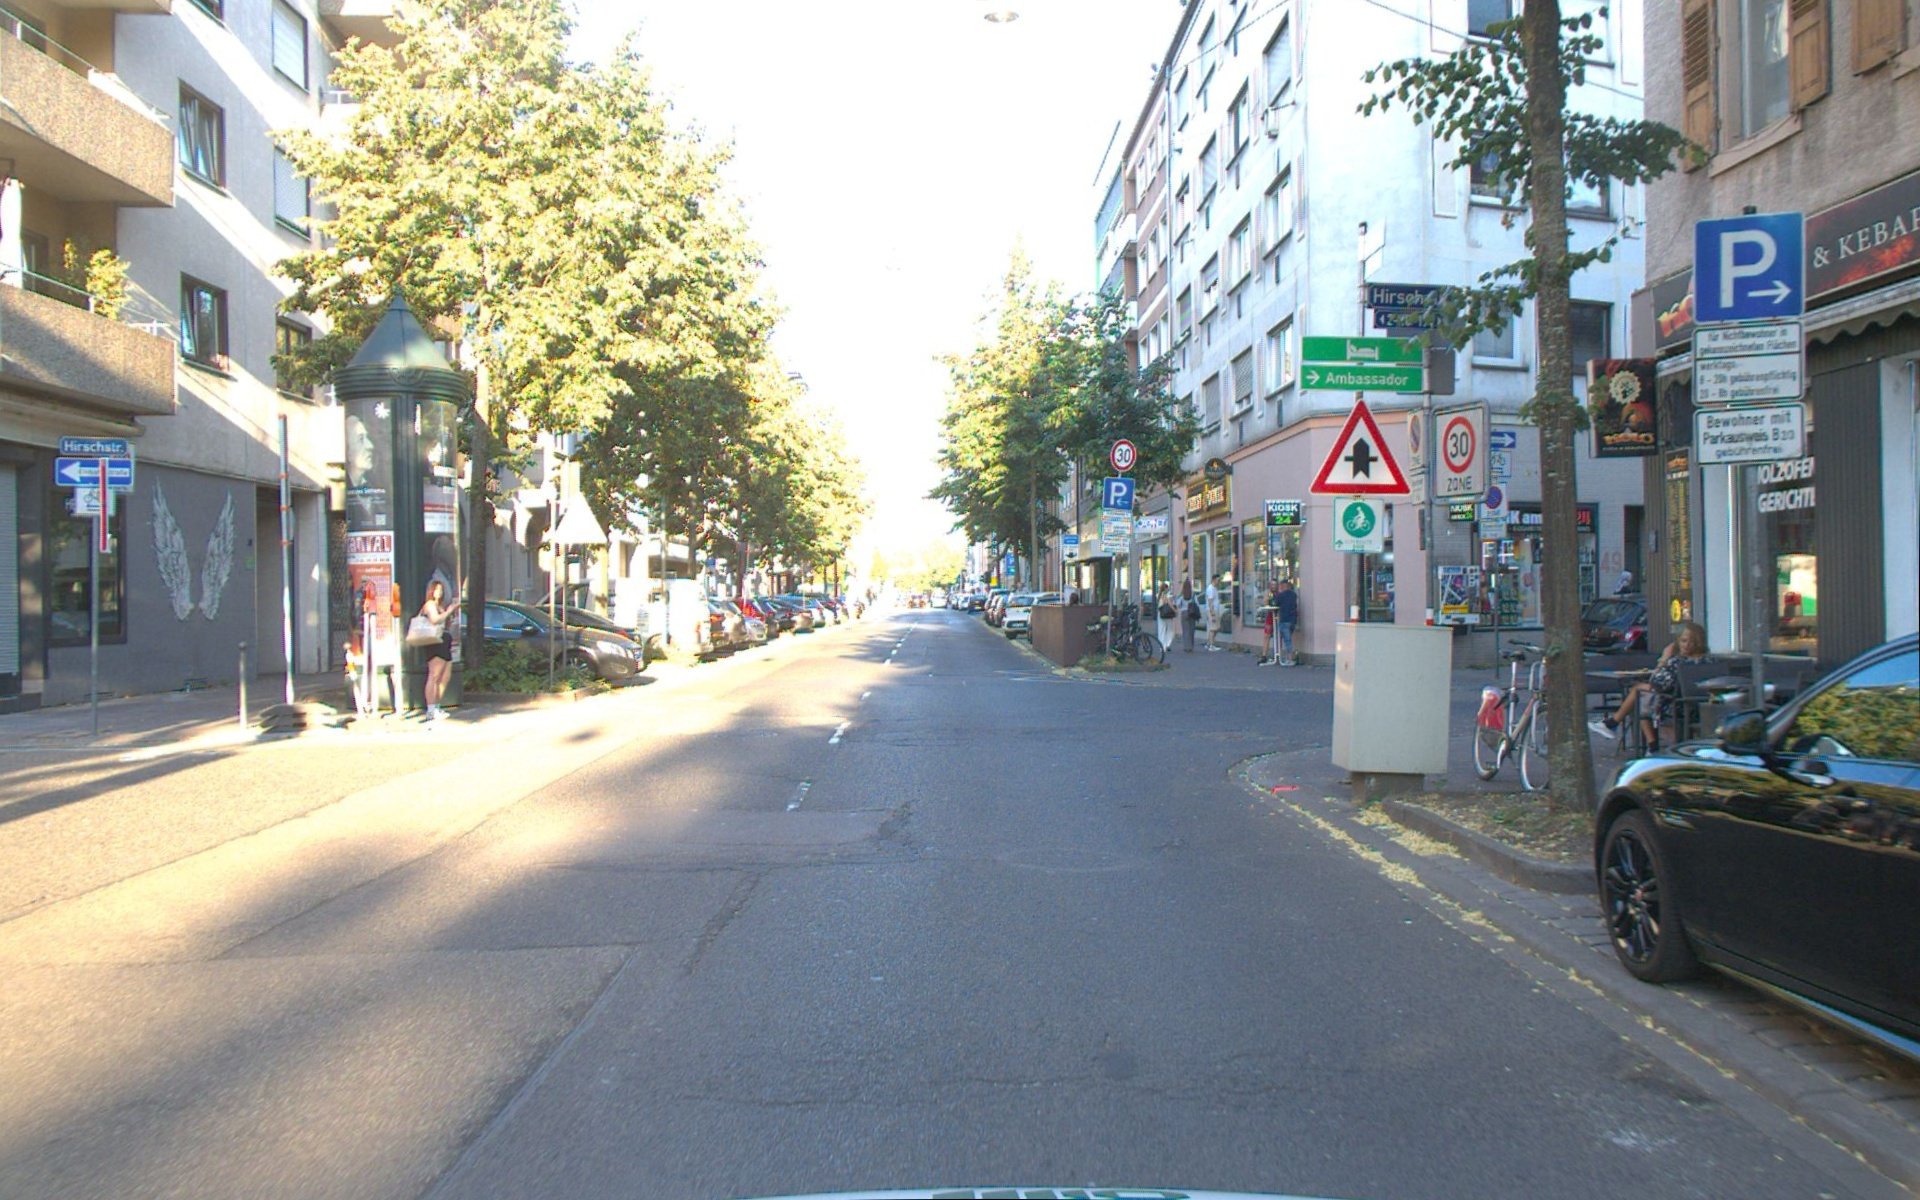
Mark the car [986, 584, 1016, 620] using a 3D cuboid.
[{"bbox_3d":[2.177,0.116,88.580,1.482,1.897,4.235,0,0,0],"label":"car"}]

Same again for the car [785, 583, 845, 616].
[{"bbox_3d":[-10.808,-0.051,123.571,4.351,2.477,1.919,0,0,-1],"label":"car"}]

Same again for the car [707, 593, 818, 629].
[{"bbox_3d":[-8.180,0.464,68.797,4.351,1.474,1.919,0,0,-1],"label":"car"}]

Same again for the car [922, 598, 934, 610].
[{"bbox_3d":[-4.175,0.568,216.433,1.538,1.532,3.303,-1,0,0],"label":"car"}]

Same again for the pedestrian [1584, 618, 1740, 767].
[{"bbox_3d":[5.850,0.749,13.865,0.668,1.161,1.360,-2,-1,-1],"label":"pedestrian"}]

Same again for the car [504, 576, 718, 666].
[{"bbox_3d":[-7.925,0.464,37.903,4.479,1.996,1.990,0,0,-1],"label":"car"}]

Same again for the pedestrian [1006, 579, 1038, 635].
[{"bbox_3d":[2.204,0.238,58.596,0.900,1.959,1.015,1,0,-11],"label":"pedestrian"}]

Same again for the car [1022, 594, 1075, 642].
[{"bbox_3d":[2.762,0.541,52.243,1.511,1.458,3.678,0,0,1],"label":"car"}]

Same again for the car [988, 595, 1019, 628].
[{"bbox_3d":[2.138,0.561,82.122,1.482,1.589,3.513,0,0,0],"label":"car"}]

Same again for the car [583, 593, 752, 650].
[{"bbox_3d":[-8.035,0.587,45.701,4.351,1.532,1.844,0,0,-1],"label":"car"}]

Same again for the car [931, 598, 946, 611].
[{"bbox_3d":[-2.596,0.553,198.011,1.685,1.501,3.303,-1,0,0],"label":"car"}]

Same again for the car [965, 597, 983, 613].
[{"bbox_3d":[1.139,0.426,136.231,1.482,1.298,3.303,0,0,0],"label":"car"}]

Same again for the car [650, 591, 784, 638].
[{"bbox_3d":[-8.418,0.508,57.556,4.351,1.595,1.919,0,0,-1],"label":"car"}]

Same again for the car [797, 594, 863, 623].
[{"bbox_3d":[-8.892,0.574,113.470,4.351,1.994,1.919,0,0,-1],"label":"car"}]

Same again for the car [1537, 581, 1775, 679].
[{"bbox_3d":[11.813,0.468,28.068,3.617,1.514,1.775,0,2,-26],"label":"car"}]

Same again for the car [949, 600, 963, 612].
[{"bbox_3d":[-0.437,0.657,177.126,1.482,1.321,3.303,0,0,0],"label":"car"}]

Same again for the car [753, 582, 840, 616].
[{"bbox_3d":[-8.476,-0.049,86.169,4.351,1.790,1.919,0,0,-1],"label":"car"}]

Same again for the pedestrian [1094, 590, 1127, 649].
[{"bbox_3d":[3.657,0.465,40.131,0.711,1.402,0.781,0,0,-1],"label":"pedestrian"}]

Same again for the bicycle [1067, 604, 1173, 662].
[{"bbox_3d":[3.085,0.629,31.967,1.918,1.092,0.704,0,0,31],"label":"bicycle"}]

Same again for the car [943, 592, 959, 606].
[{"bbox_3d":[-0.991,-0.108,188.449,1.716,1.567,3.303,-1,0,0],"label":"car"}]

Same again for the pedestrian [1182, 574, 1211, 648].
[{"bbox_3d":[5.570,0.258,38.909,0.617,1.709,0.892,0,0,11],"label":"pedestrian"}]

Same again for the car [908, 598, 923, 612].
[{"bbox_3d":[-5.262,0.604,196.405,1.716,1.567,3.303,-1,0,0],"label":"car"}]

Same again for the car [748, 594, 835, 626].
[{"bbox_3d":[-8.521,0.507,84.062,4.216,1.626,1.919,0,0,-1],"label":"car"}]

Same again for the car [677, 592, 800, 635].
[{"bbox_3d":[-8.308,0.492,62.271,4.351,1.595,1.919,0,0,-1],"label":"car"}]

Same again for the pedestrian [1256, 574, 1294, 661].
[{"bbox_3d":[6.079,0.334,31.956,0.555,1.627,0.663,-2,1,-1],"label":"pedestrian"}]

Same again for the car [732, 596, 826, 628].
[{"bbox_3d":[-8.692,0.580,79.739,4.351,1.549,1.919,0,0,-1],"label":"car"}]

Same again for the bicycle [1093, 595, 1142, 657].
[{"bbox_3d":[3.203,0.508,33.430,0.585,1.198,1.847,0,0,18],"label":"bicycle"}]

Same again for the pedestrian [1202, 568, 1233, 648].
[{"bbox_3d":[6.022,0.182,38.699,0.683,1.836,0.892,0,0,7],"label":"pedestrian"}]

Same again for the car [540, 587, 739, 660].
[{"bbox_3d":[-7.799,0.562,40.549,4.478,1.727,2.060,0,0,-1],"label":"car"}]

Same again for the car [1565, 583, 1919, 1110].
[{"bbox_3d":[3.524,0.679,4.789,1.749,1.399,4.522,-3,0,-1],"label":"car"}]

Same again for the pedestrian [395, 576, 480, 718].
[{"bbox_3d":[-6.444,0.570,20.416,0.695,1.716,0.834,0,0,8],"label":"pedestrian"}]

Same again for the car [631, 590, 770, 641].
[{"bbox_3d":[-8.640,0.501,55.321,4.351,1.667,1.859,0,0,-1],"label":"car"}]

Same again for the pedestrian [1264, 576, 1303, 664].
[{"bbox_3d":[6.102,0.364,31.192,0.555,1.611,0.663,-2,1,-1],"label":"pedestrian"}]

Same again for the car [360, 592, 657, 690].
[{"bbox_3d":[-7.438,0.662,27.556,4.455,1.568,1.810,0,0,-2],"label":"car"}]

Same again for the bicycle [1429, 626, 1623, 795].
[{"bbox_3d":[4.237,0.789,12.544,0.762,1.131,1.899,-2,0,-1],"label":"bicycle"}]

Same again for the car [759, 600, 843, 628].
[{"bbox_3d":[-8.545,0.743,89.283,4.351,1.525,1.919,0,0,-1],"label":"car"}]

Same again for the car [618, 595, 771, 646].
[{"bbox_3d":[-8.025,0.610,50.270,4.351,1.510,1.809,0,0,-1],"label":"car"}]

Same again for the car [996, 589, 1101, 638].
[{"bbox_3d":[3.064,0.444,56.657,1.645,1.616,3.801,0,0,41],"label":"car"}]

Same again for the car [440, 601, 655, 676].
[{"bbox_3d":[-8.154,0.756,32.940,3.712,1.416,2.044,0,-1,2],"label":"car"}]

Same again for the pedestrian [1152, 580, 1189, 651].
[{"bbox_3d":[4.990,0.353,39.197,0.779,1.654,0.913,0,0,11],"label":"pedestrian"}]

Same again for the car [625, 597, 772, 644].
[{"bbox_3d":[-8.276,0.640,52.571,4.351,1.484,1.859,0,0,-1],"label":"car"}]
